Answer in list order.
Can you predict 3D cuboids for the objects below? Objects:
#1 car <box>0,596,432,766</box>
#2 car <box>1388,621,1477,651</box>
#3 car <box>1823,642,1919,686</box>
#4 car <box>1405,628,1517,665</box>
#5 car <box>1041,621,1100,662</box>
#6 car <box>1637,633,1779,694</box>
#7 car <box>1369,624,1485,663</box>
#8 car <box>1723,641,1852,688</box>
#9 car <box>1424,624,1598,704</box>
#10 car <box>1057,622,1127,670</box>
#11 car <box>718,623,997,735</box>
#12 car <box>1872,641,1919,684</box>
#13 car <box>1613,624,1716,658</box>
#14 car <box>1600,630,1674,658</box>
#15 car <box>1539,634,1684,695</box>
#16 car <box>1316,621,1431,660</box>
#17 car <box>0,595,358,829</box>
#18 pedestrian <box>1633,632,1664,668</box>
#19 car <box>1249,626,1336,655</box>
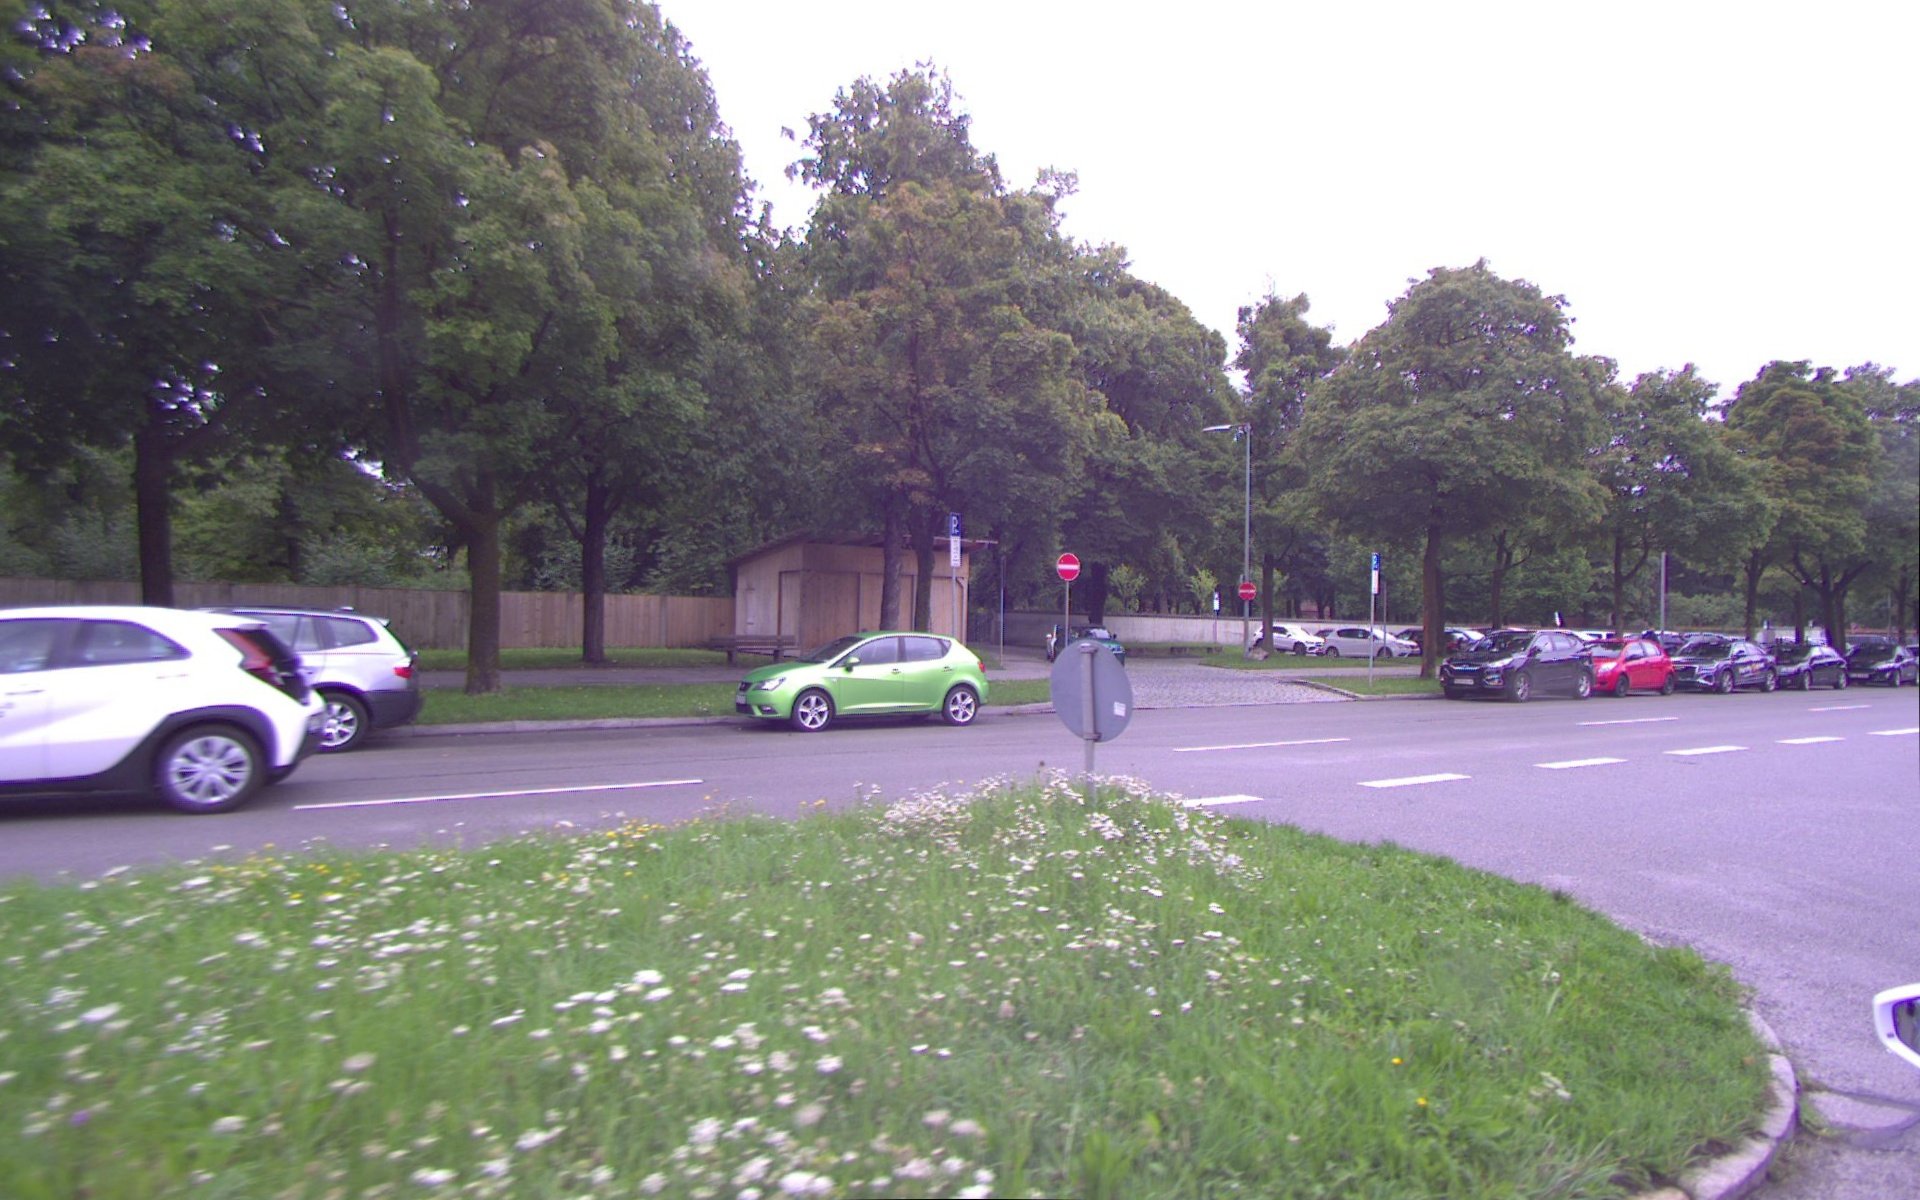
[{"bbox_3d":[-8.487,0.849,11.318,4.405,1.652,1.813,2,-2,-31],"label":"car"},{"bbox_3d":[28.283,2.151,60.239,1.977,1.647,4.484,2,-1,-30],"label":"car"},{"bbox_3d":[32.035,2.206,35.166,3.960,1.466,1.810,2,-3,-35],"label":"car"},{"bbox_3d":[22.005,2.002,44.230,1.980,1.461,3.961,2,-1,-35],"label":"car"},{"bbox_3d":[4.236,1.569,39.112,1.822,1.428,4.470,1,-1,1],"label":"car"},{"bbox_3d":[21.715,1.807,29.131,4.063,1.620,1.814,2,-1,-29],"label":"car"},{"bbox_3d":[19.860,1.825,42.892,1.978,1.461,4.112,2,-1,-32],"label":"car"},{"bbox_3d":[26.311,2.023,31.920,3.950,1.428,1.814,2,-3,-28],"label":"car"},{"bbox_3d":[13.270,1.533,24.131,4.192,1.722,1.812,3,-1,-32],"label":"car"},{"bbox_3d":[4.311,1.491,33.224,1.822,1.428,3.860,1,-1,1],"label":"car"},{"bbox_3d":[-1.536,1.151,15.413,3.952,1.519,1.633,1,-2,-30],"label":"car"},{"bbox_3d":[36.389,2.365,37.926,4.251,1.547,1.812,3,-3,-32],"label":"car"},{"bbox_3d":[35.884,2.062,51.262,1.792,1.591,3.971,2,-1,-28],"label":"car"},{"bbox_3d":[53.548,3.488,79.538,1.977,2.061,4.484,2,-1,-30],"label":"car"},{"bbox_3d":[17.523,1.728,26.991,3.767,1.499,1.812,3,-1,-32],"label":"car"},{"bbox_3d":[17.105,1.651,41.689,1.980,1.461,3.961,2,-1,-35],"label":"car"},{"bbox_3d":[-6.844,0.757,7.585,3.668,1.574,1.817,2,-1,-23],"label":"car"},{"bbox_3d":[28.972,2.097,42.283,0.846,1.515,0.791,1,-1,-30],"label":"pedestrian"},{"bbox_3d":[18.624,2.267,56.503,1.977,1.461,4.484,2,-1,-30],"label":"car"}]
